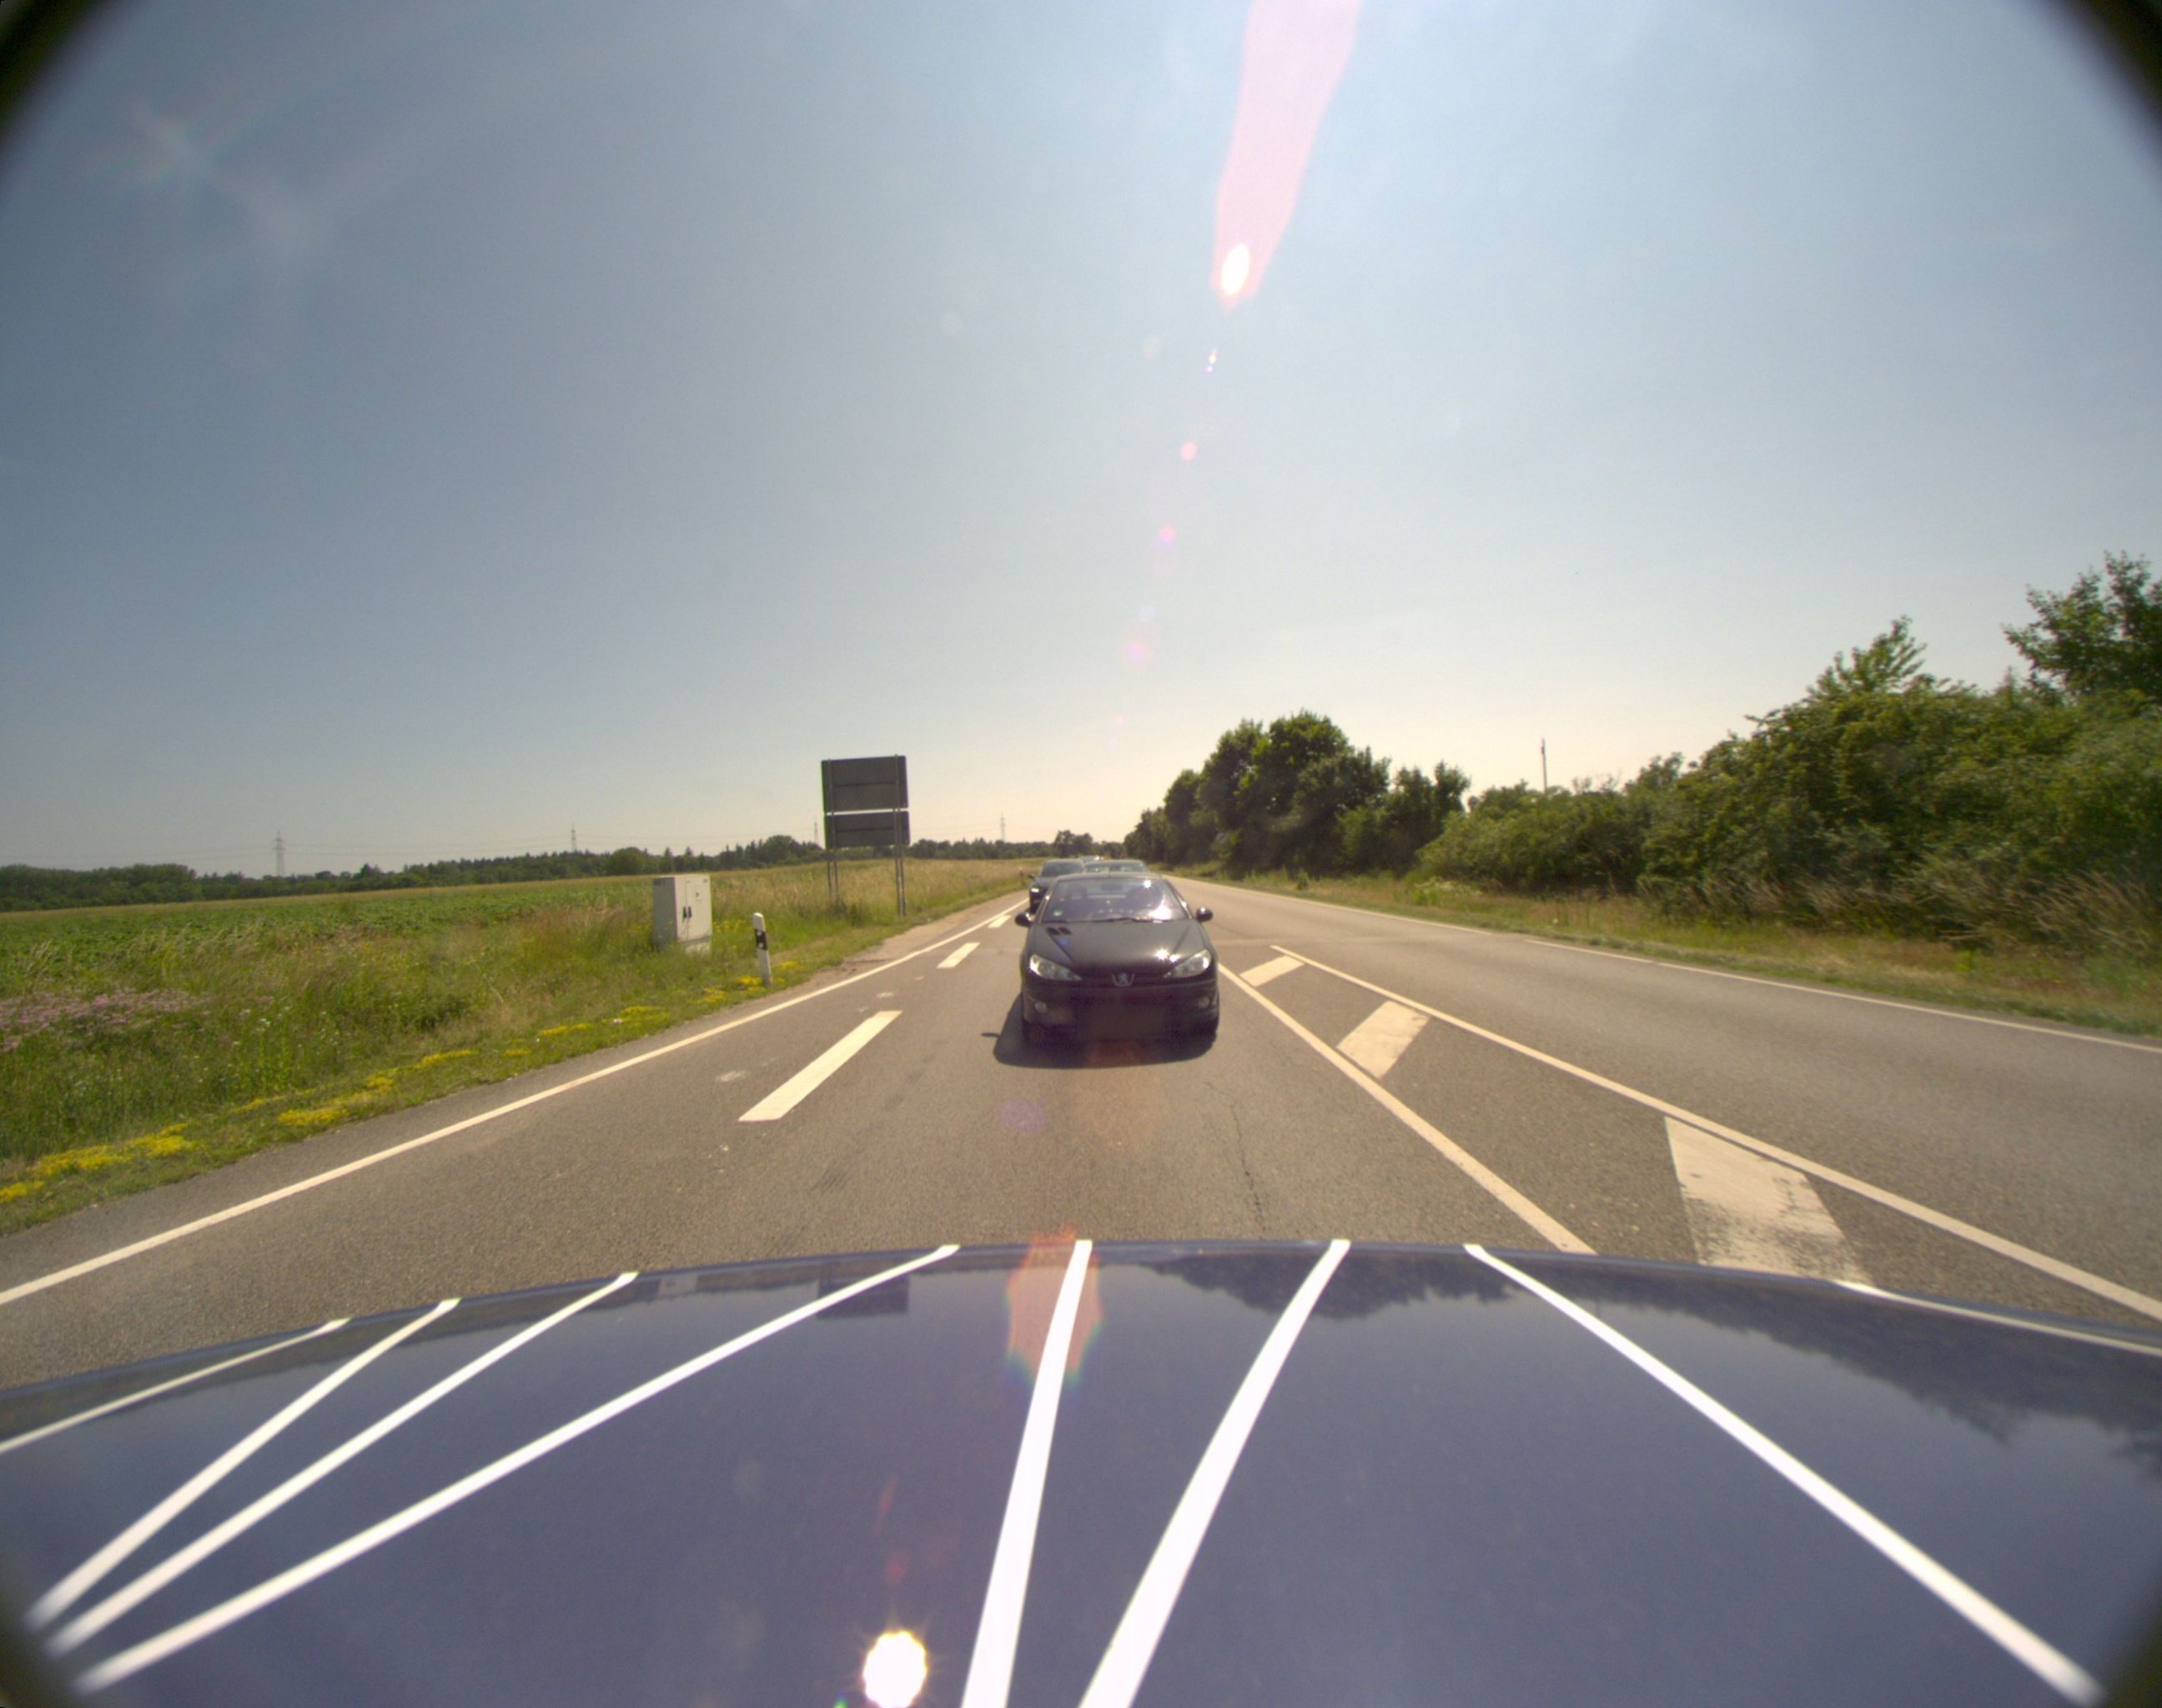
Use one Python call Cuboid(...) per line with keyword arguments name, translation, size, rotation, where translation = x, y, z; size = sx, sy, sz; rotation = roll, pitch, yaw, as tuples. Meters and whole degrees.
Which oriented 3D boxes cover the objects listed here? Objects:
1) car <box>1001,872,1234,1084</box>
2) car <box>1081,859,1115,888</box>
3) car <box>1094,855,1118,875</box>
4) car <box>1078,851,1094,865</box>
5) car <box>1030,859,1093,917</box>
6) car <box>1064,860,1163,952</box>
Cuboid(name="car", translation=(0.295, 0.959, 7.441), size=(1.665, 1.389, 3.731), rotation=(-2, 0, 1))
Cuboid(name="car", translation=(0.847, 0.931, 38.168), size=(1.588, 1.294, 3.631), rotation=(-2, 0, 1))
Cuboid(name="car", translation=(1.775, 0.745, 53.845), size=(1.588, 1.294, 3.631), rotation=(-2, 0, 1))
Cuboid(name="car", translation=(0.573, 0.418, 78.873), size=(1.588, 1.294, 3.631), rotation=(-2, 0, 1))
Cuboid(name="car", translation=(-0.486, 0.939, 22.656), size=(1.665, 1.449, 4.173), rotation=(-2, 0, 1))
Cuboid(name="car", translation=(0.617, 0.917, 14.921), size=(1.665, 1.477, 3.732), rotation=(-2, 0, 2))
